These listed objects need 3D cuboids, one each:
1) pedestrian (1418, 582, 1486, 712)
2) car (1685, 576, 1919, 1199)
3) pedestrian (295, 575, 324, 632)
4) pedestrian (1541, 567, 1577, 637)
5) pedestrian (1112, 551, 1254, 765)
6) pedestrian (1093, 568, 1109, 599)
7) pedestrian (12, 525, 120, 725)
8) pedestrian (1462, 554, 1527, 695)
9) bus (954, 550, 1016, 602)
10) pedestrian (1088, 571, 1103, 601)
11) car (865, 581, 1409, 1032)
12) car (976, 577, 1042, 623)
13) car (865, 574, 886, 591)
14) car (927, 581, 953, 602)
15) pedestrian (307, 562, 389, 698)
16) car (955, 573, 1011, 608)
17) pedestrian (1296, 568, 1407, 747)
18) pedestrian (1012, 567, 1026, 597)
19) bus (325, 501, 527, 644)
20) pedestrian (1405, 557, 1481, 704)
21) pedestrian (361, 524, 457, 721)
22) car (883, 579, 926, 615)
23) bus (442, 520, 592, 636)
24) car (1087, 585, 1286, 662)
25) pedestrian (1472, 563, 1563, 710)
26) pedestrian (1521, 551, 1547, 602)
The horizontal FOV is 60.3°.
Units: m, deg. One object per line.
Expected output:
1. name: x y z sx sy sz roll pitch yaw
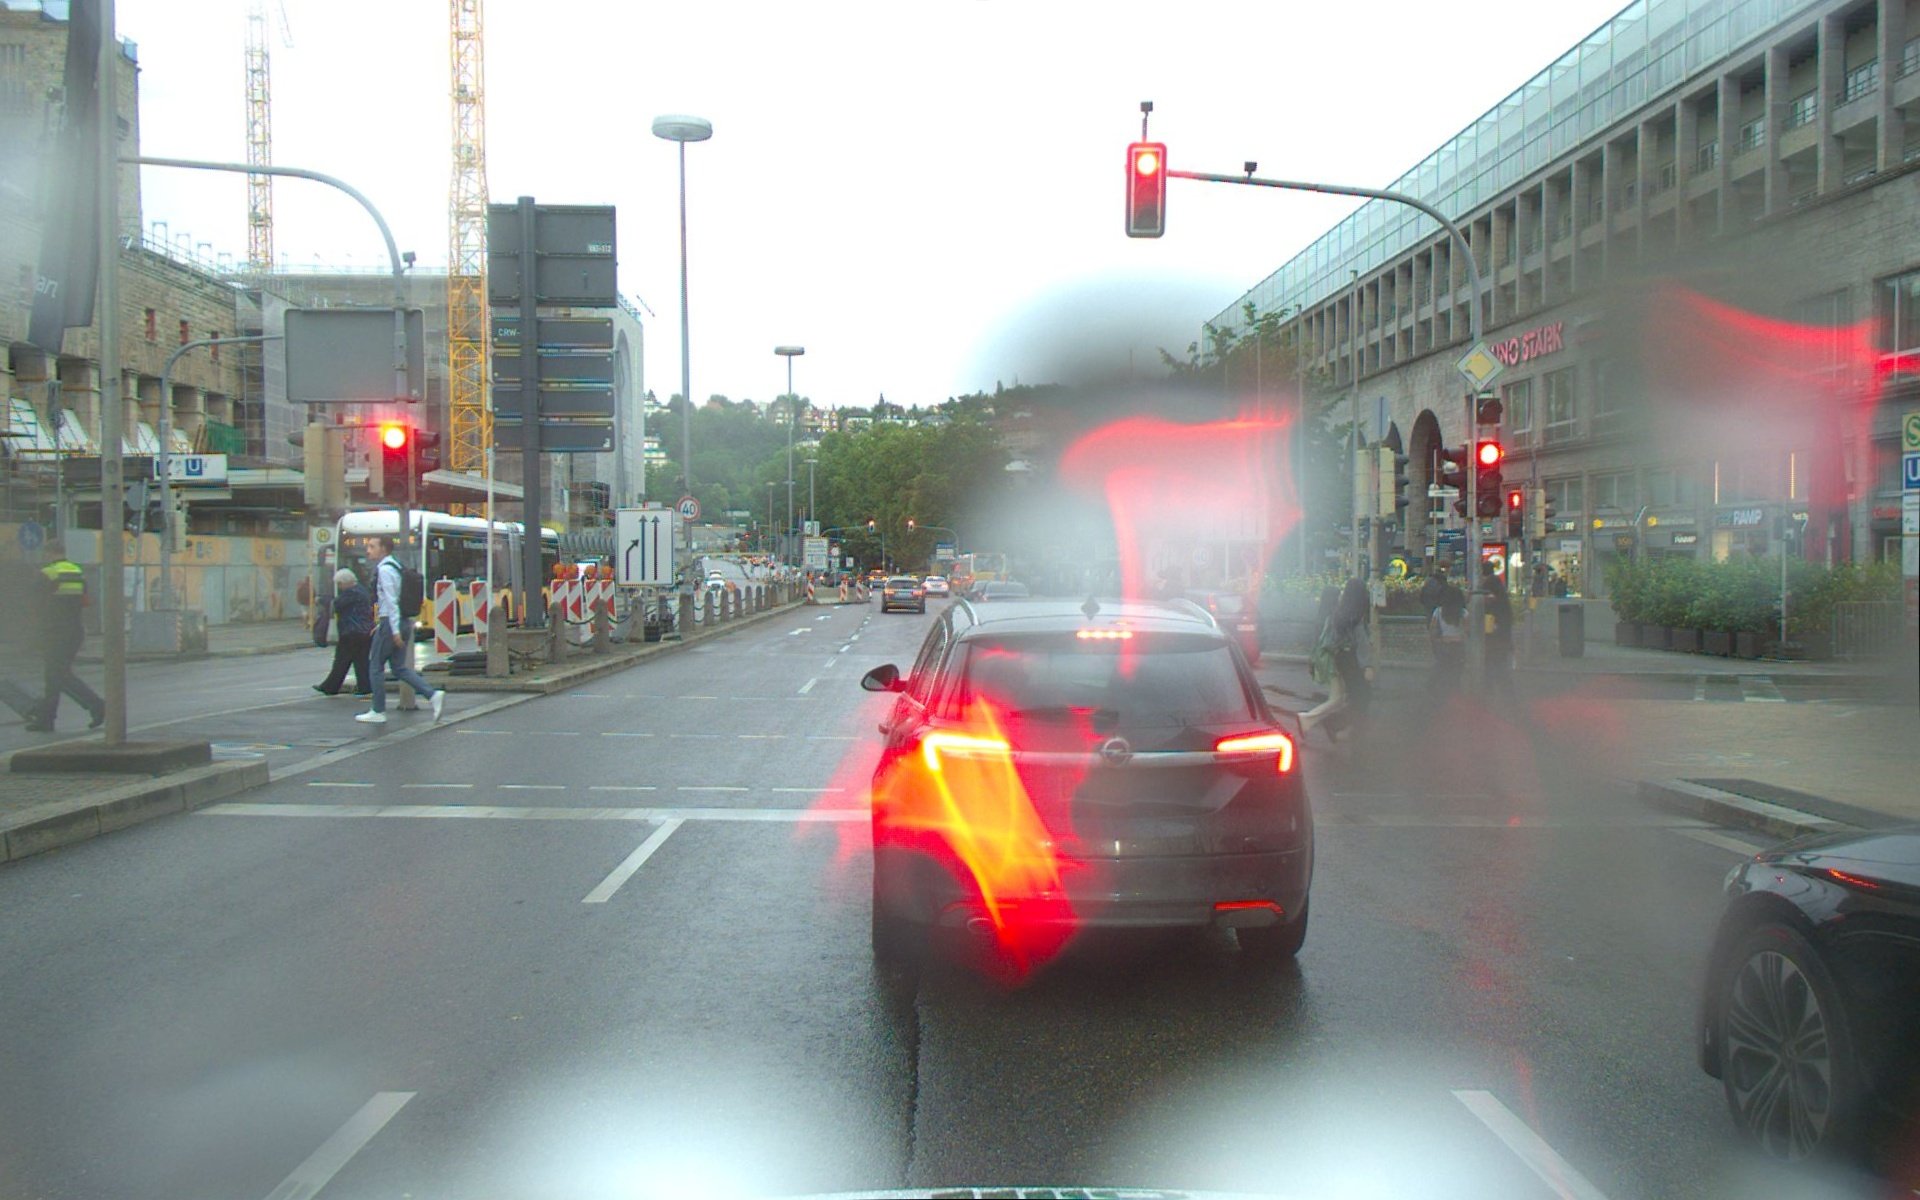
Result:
1. pedestrian: 5.765 0.542 19.391 0.665 1.500 0.366 1 0 -6
2. car: 3.033 0.727 2.497 1.757 1.528 4.627 1 0 -1
3. pedestrian: -21.783 0.116 55.424 0.648 1.887 0.798 0 0 -1
4. pedestrian: 17.791 0.059 49.117 0.751 2.049 0.820 1 0 41
5. pedestrian: 1.936 0.493 14.450 1.074 1.782 0.653 -2 0 -4
6. pedestrian: 8.013 -0.942 94.262 0.748 1.720 0.824 1 0 -5
7. pedestrian: -8.601 0.233 15.935 0.566 1.868 0.819 1 0 -1
8. pedestrian: 6.891 0.313 21.326 0.560 1.783 0.676 1 0 42
9. bus: 1.696 -1.657 120.922 4.089 3.529 14.651 1 0 -1
10. pedestrian: 7.811 -0.802 95.421 0.748 1.720 0.824 1 0 -5
11. car: 0.565 0.708 7.641 1.837 1.512 3.999 1 0 -1
12. car: 1.546 -0.002 53.735 1.718 1.422 4.645 1 0 -3
13. car: -7.638 -1.589 149.771 1.723 1.422 3.563 1 0 -1
14. car: -1.390 -0.566 115.276 1.808 1.422 3.563 1 0 -1
15. pedestrian: -7.293 0.356 19.742 0.859 1.588 0.783 1 0 -19
16. car: 0.946 -0.385 70.855 1.720 1.422 4.394 1 0 -8
17. pedestrian: 3.738 0.538 15.839 0.778 1.654 0.899 1 0 -4
18. pedestrian: 5.016 -1.518 140.897 1.174 2.478 1.228 1 0 0
19. bus: -15.214 -0.712 48.124 2.614 3.665 10.237 1 0 -1
20. pedestrian: 5.823 0.364 19.961 0.740 1.747 0.466 1 0 -5
21. pedestrian: -5.509 0.223 16.557 0.784 1.923 0.619 1 0 -9
22. car: -2.358 -0.127 69.727 1.718 1.422 4.536 1 0 -2
23. bus: -15.373 -0.711 58.307 2.614 3.665 10.209 1 0 -1
24. car: 4.425 0.439 32.658 1.834 1.422 3.614 1 0 -39
25. pedestrian: 6.364 0.412 18.895 0.783 1.636 0.619 1 0 -5
26. pedestrian: 23.462 -0.957 67.636 0.747 2.049 0.825 1 0 -1
